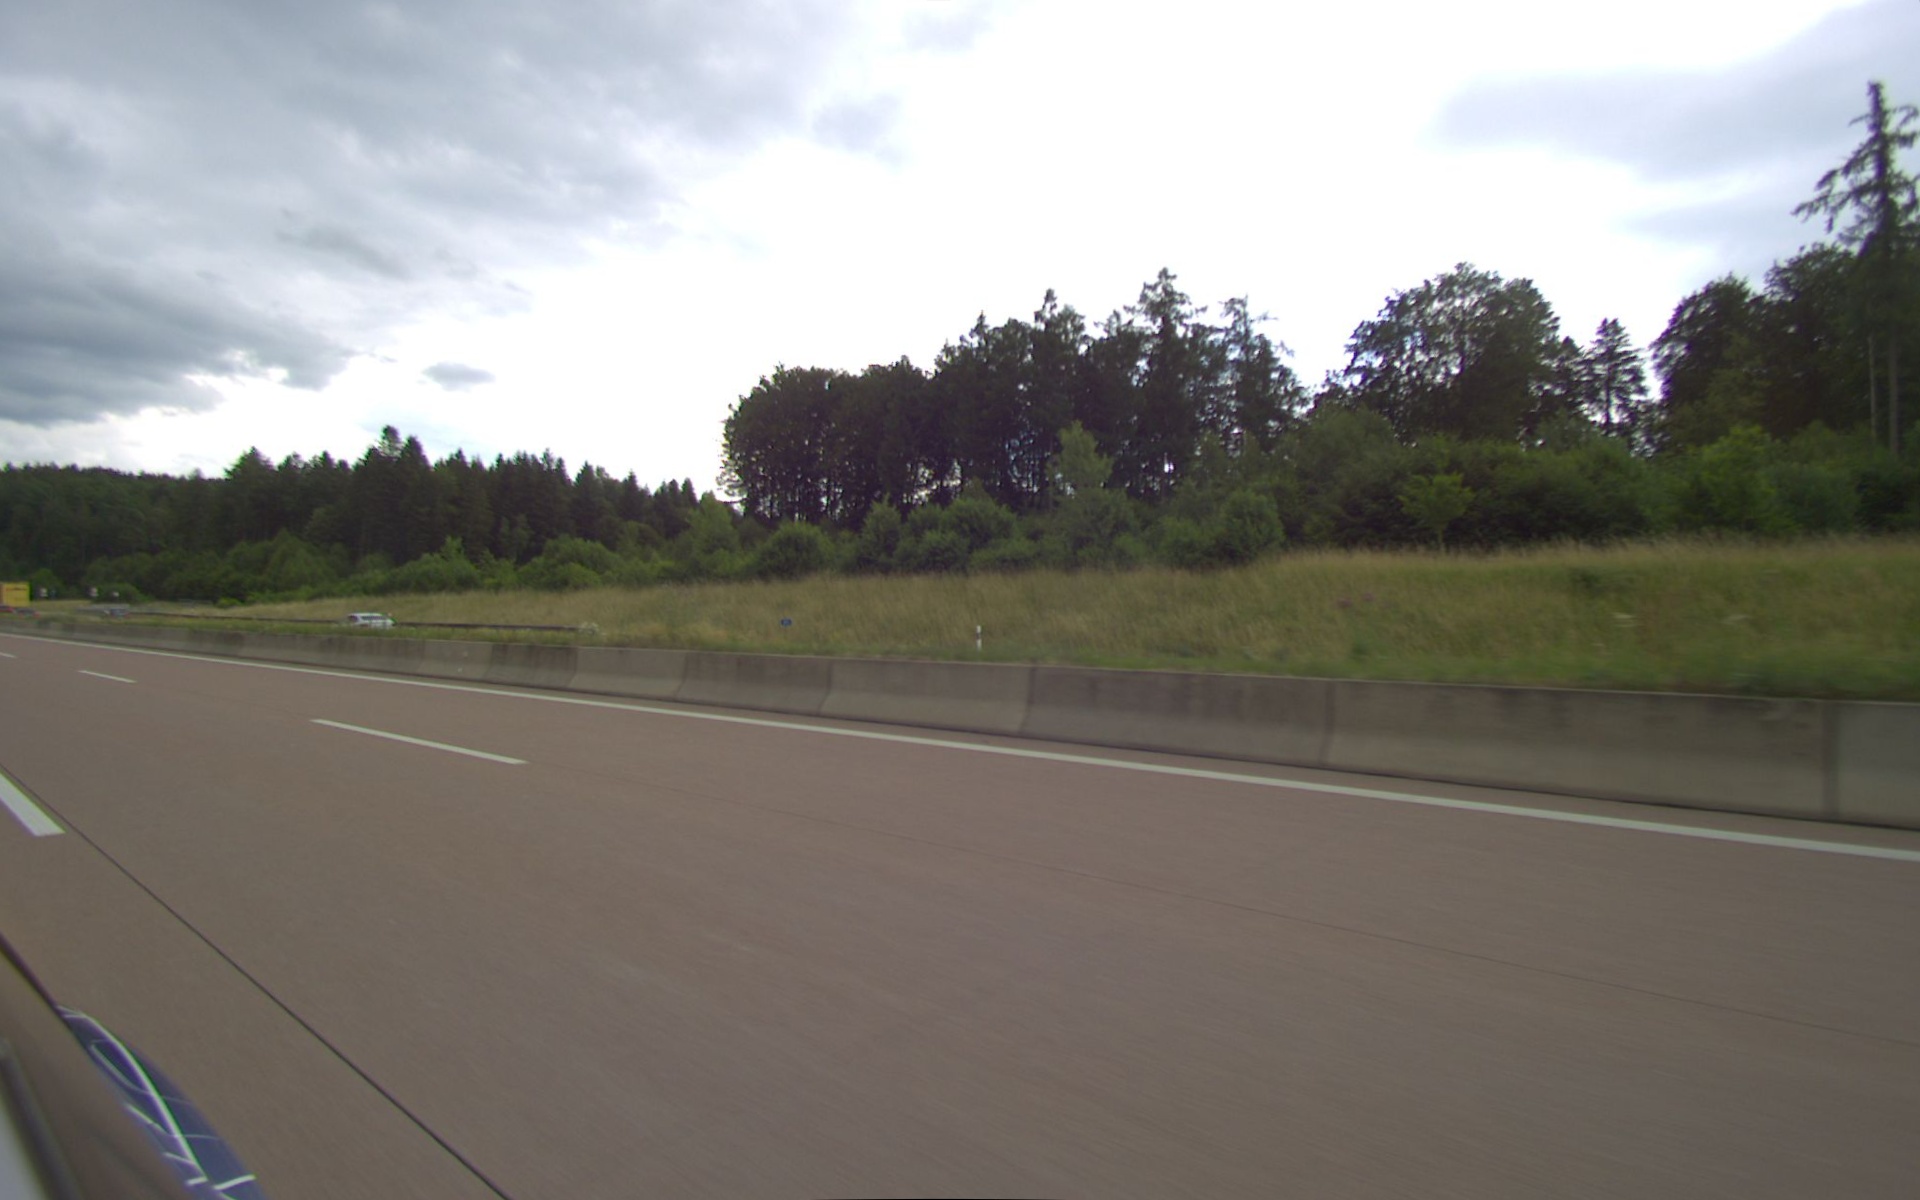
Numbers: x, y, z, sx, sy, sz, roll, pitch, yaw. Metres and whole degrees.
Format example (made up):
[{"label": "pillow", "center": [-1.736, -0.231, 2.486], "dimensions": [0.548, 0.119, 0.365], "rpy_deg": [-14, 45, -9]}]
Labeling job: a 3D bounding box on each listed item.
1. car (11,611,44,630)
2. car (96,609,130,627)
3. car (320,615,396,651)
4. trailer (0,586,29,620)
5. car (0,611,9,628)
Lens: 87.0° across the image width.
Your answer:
[{"label": "car", "center": [-88.124, 1.922, 95.634], "dimensions": [3.997, 1.829, 1.789], "rpy_deg": [-1, -1, 40]}, {"label": "car", "center": [-79.558, 1.709, 95.065], "dimensions": [4.377, 1.650, 1.744], "rpy_deg": [-1, 0, 40]}, {"label": "car", "center": [-29.391, 1.577, 49.345], "dimensions": [4.821, 1.536, 1.653], "rpy_deg": [1, 1, 39]}, {"label": "trailer", "center": [-121.885, 0.338, 128.591], "dimensions": [14.511, 4.072, 3.004], "rpy_deg": [0, 0, 38]}, {"label": "car", "center": [-104.945, 2.110, 109.908], "dimensions": [4.375, 1.650, 1.745], "rpy_deg": [1, 1, 38]}]
